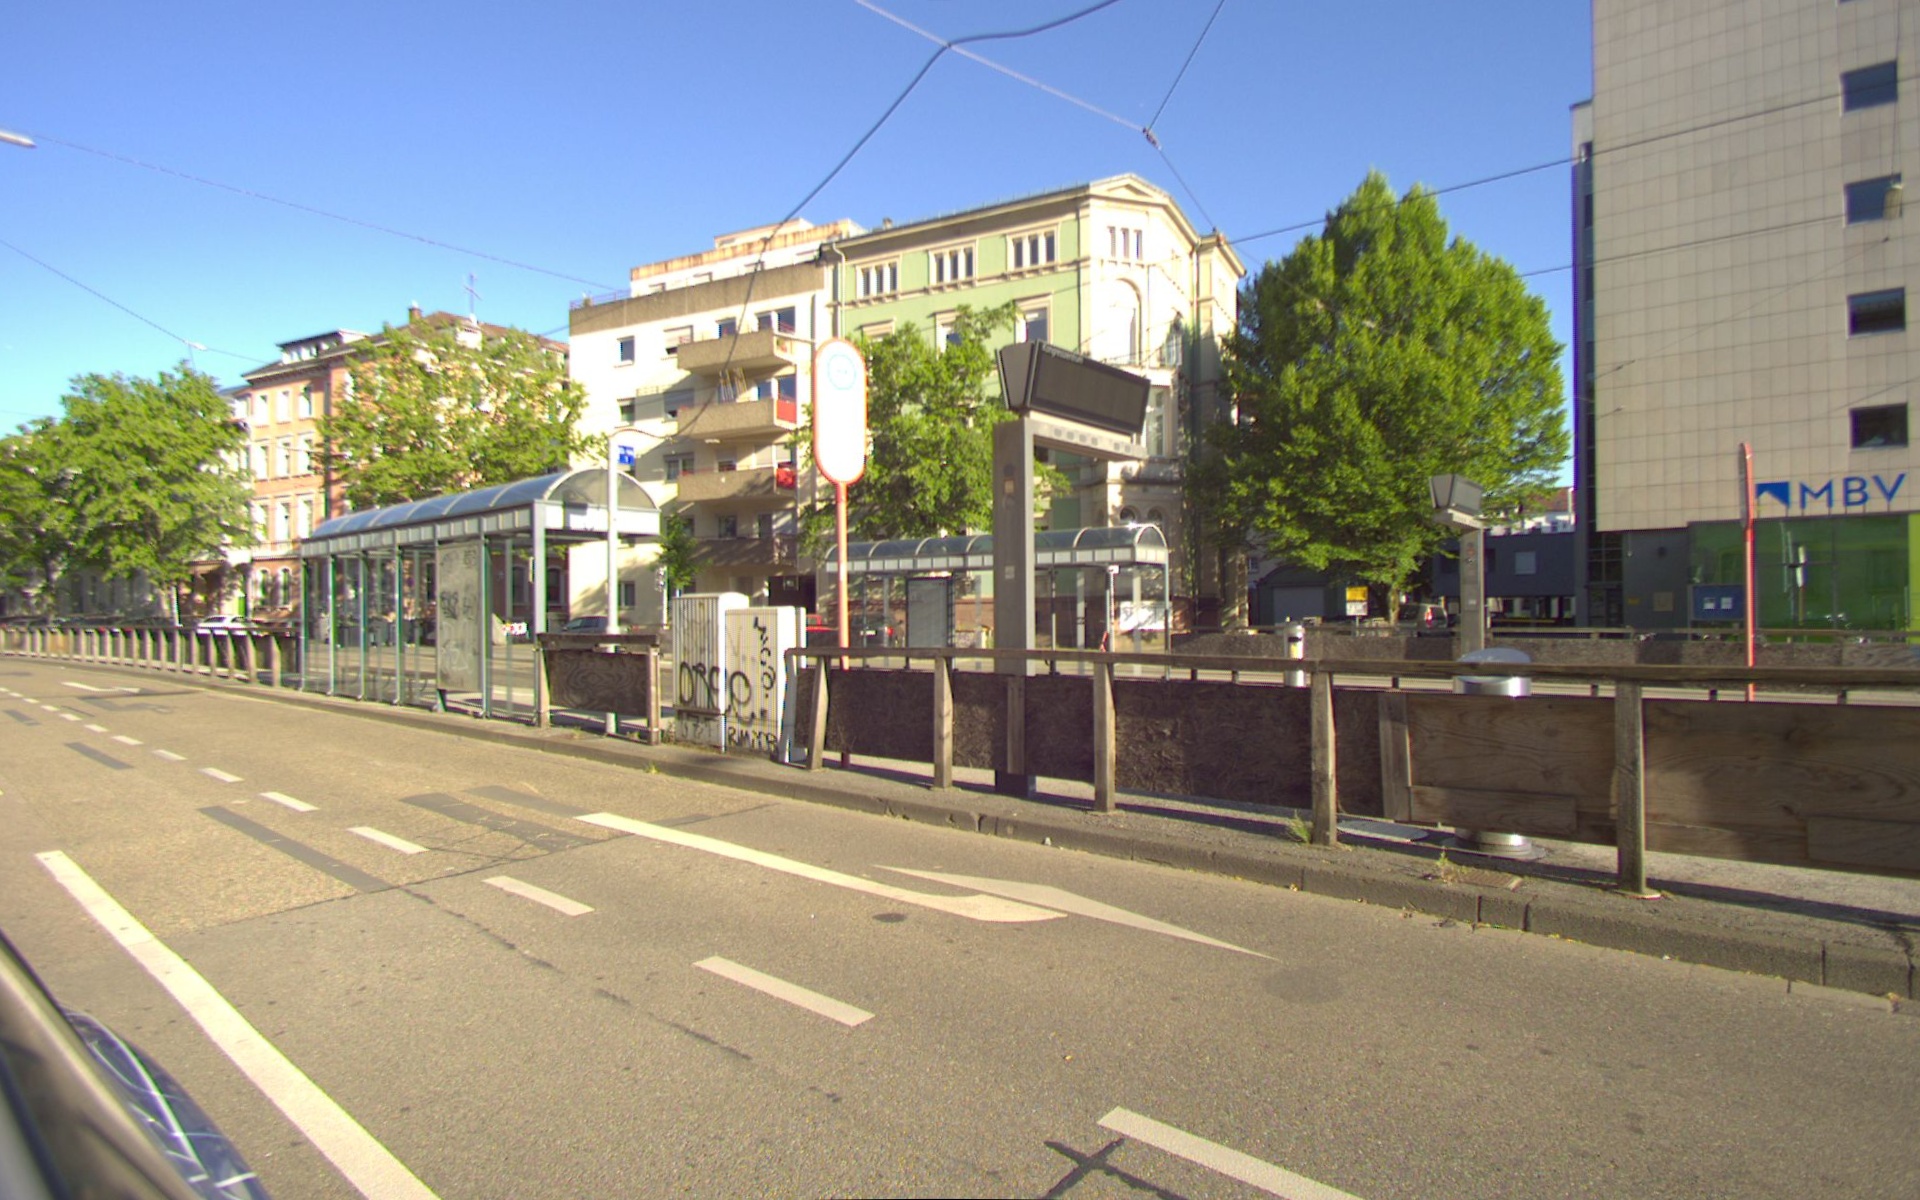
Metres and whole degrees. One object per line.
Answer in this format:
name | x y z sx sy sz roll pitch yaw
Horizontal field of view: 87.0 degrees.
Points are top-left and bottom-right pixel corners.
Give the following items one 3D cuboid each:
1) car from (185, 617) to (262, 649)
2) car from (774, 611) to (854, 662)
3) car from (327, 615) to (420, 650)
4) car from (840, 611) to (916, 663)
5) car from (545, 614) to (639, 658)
car | -39.401 1.729 54.220 1.607 1.579 3.601 -1 0 -2
car | -4.923 1.209 34.572 1.614 1.579 3.588 -1 0 11
car | -28.401 1.550 49.062 1.626 1.579 3.560 -1 0 33
car | -2.650 1.180 33.376 1.614 1.579 3.588 -1 0 11
car | -14.035 1.326 38.525 3.592 1.579 1.612 -1 0 35
